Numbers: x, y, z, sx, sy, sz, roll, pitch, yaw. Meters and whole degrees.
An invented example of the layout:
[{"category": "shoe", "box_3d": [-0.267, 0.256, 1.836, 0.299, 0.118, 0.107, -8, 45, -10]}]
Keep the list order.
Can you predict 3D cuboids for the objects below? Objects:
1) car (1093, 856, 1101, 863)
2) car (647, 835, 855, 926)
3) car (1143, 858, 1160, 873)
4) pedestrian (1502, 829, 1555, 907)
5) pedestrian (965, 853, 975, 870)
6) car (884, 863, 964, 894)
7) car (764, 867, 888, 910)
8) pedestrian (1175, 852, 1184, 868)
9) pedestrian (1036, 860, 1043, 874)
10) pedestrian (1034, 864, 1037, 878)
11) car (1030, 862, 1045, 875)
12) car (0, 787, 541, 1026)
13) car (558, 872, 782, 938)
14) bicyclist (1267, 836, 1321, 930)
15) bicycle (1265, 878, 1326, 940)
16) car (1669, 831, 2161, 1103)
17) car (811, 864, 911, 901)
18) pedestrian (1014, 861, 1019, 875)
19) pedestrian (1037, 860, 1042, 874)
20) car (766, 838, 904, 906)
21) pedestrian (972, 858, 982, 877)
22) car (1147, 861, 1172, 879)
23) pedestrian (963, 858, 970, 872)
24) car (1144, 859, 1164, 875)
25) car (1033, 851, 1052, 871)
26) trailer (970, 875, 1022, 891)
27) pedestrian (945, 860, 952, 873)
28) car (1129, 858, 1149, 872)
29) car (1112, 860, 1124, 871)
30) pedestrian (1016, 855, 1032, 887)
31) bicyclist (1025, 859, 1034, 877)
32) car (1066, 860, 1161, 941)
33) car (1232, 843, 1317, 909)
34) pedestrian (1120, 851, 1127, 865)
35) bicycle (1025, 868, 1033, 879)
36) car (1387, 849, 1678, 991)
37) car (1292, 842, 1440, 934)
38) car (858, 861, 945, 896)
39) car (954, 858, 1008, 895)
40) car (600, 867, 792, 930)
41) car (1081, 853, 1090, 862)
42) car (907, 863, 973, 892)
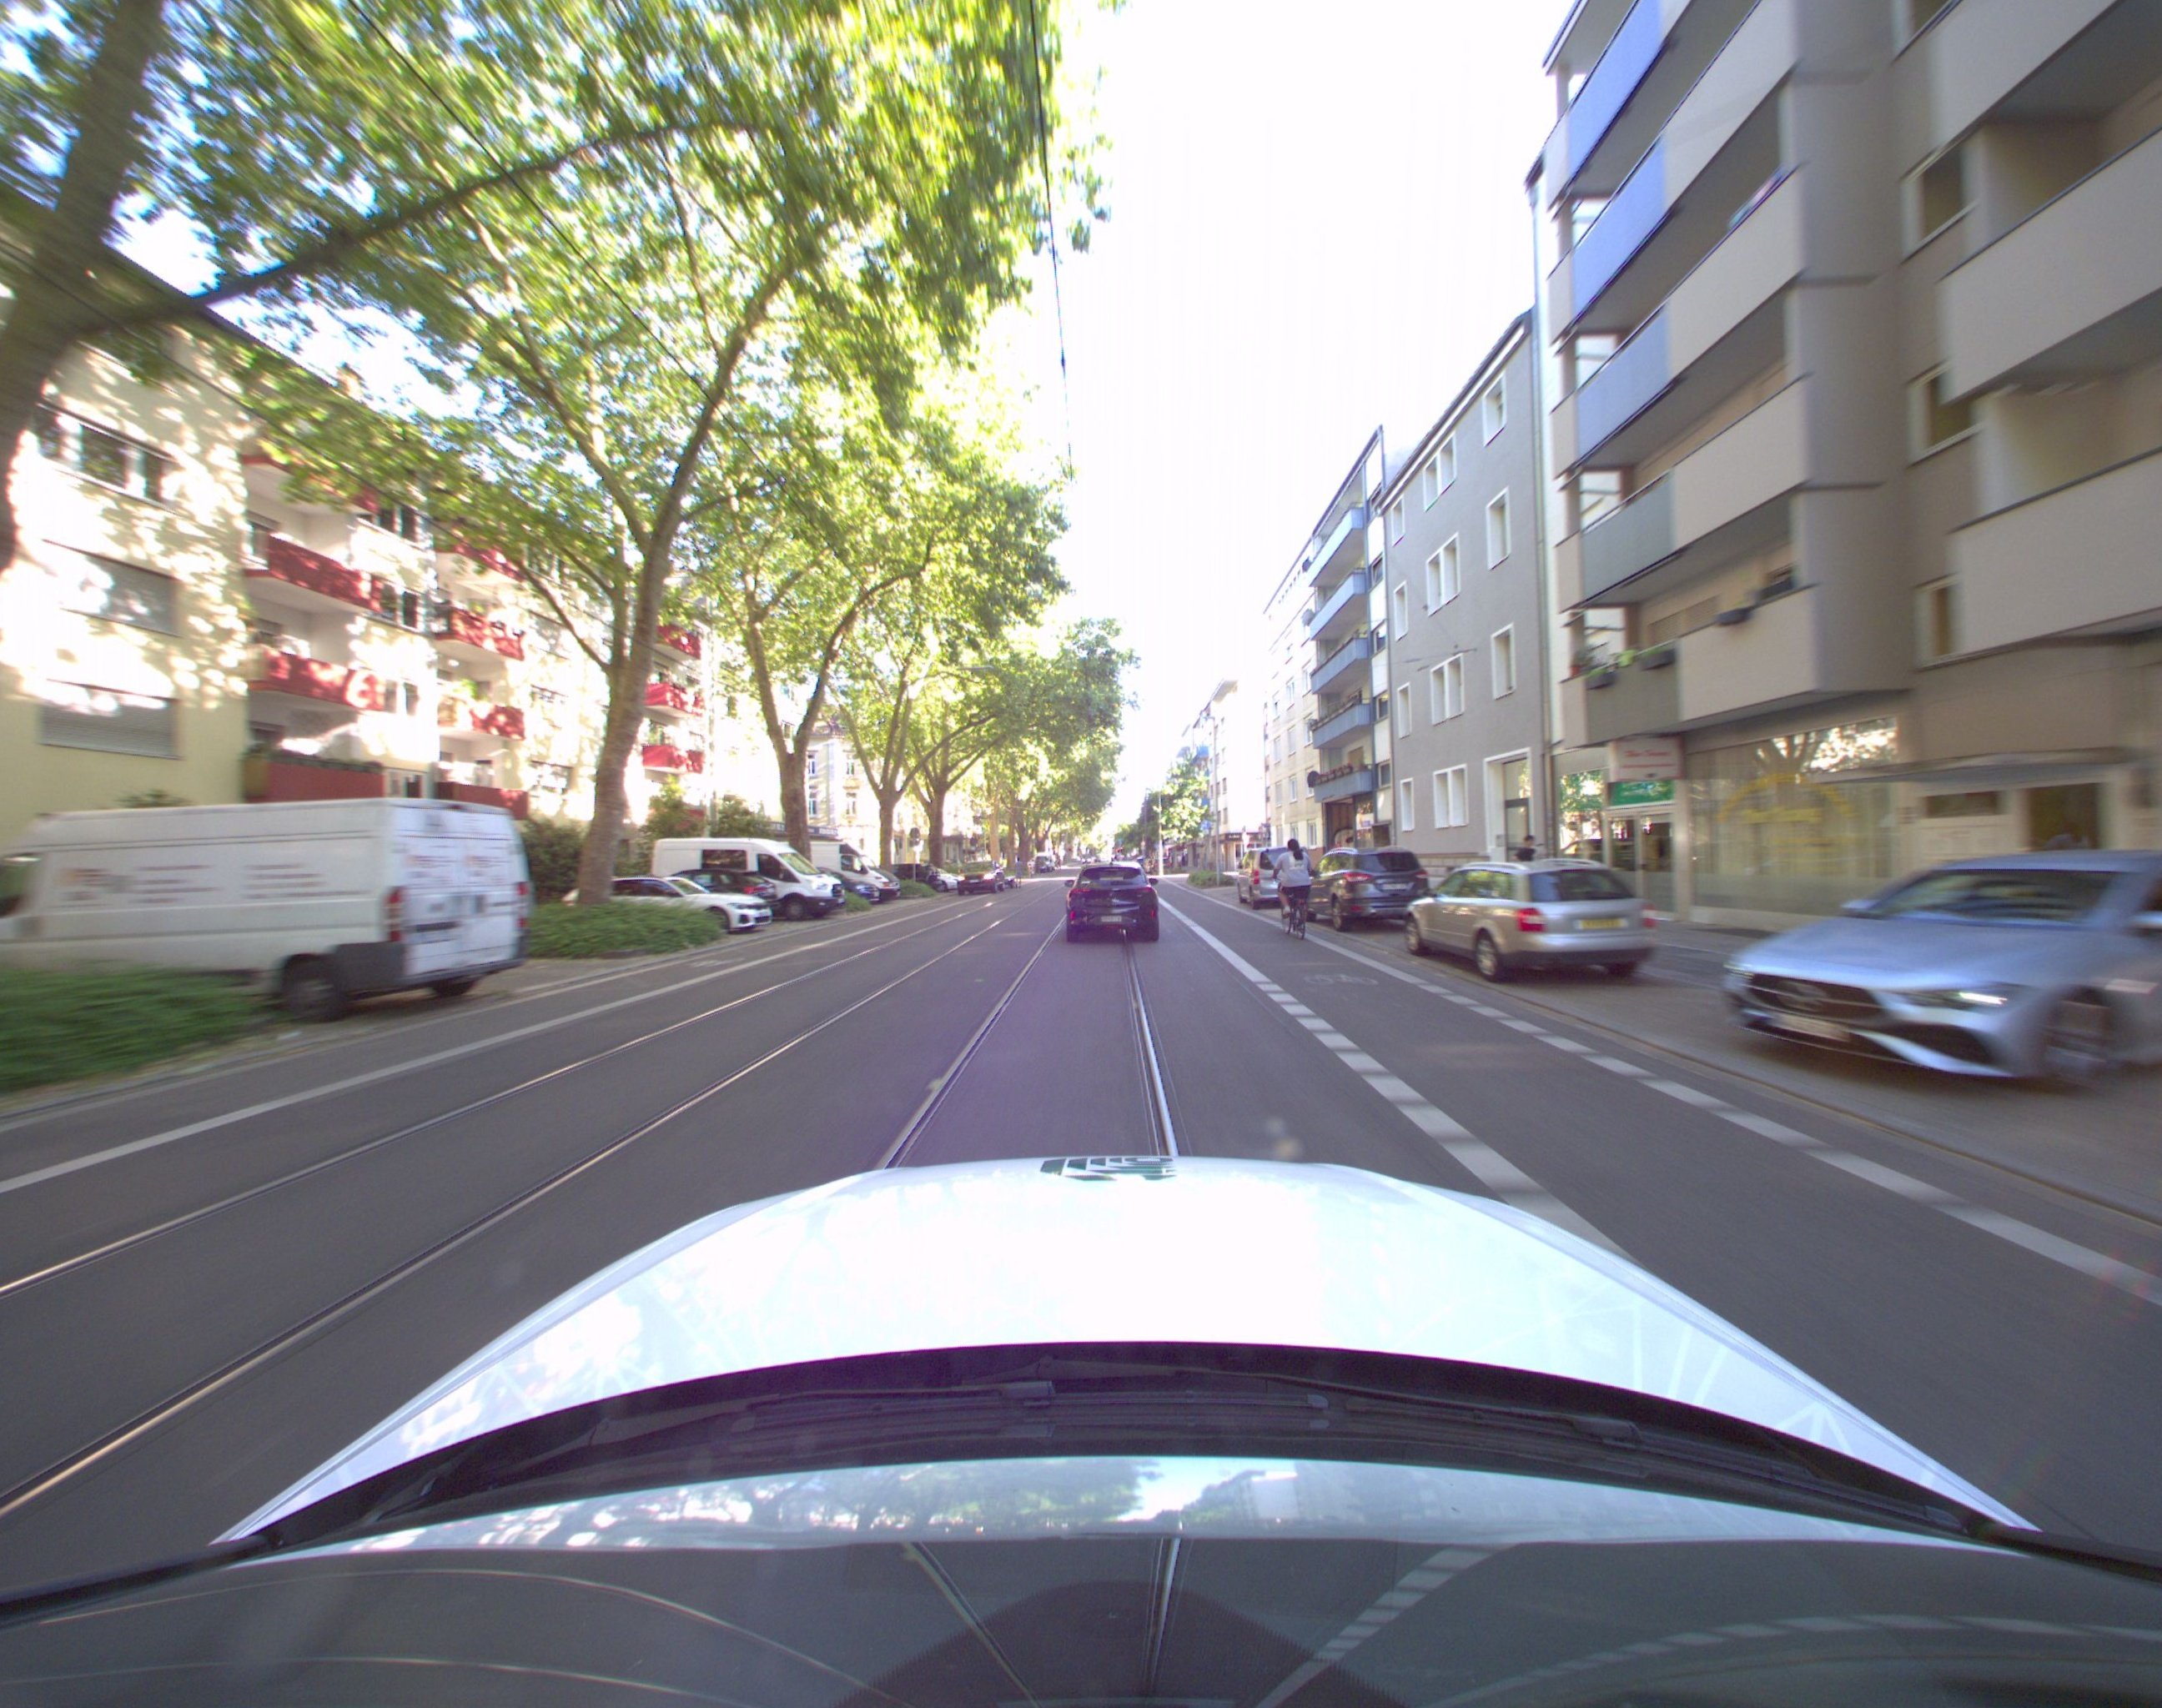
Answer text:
[{"category": "car", "box_3d": [3.989, 1.259, 197.520, 1.742, 1.651, 4.004, -2, 0, 3]}, {"category": "car", "box_3d": [-9.812, 0.782, 24.514, 5.340, 2.477, 2.058, -2, -1, 2]}, {"category": "car", "box_3d": [7.420, 1.195, 85.564, 1.644, 1.574, 3.086, -2, 0, 4]}, {"category": "pedestrian", "box_3d": [10.171, 0.319, 18.524, 0.753, 1.720, 0.720, -2, -1, 0]}, {"category": "pedestrian", "box_3d": [-11.159, 0.744, 81.957, 0.845, 1.632, 0.643, -2, -1, -4]}, {"category": "car", "box_3d": [-8.510, 1.333, 44.447, 3.973, 1.522, 1.771, -1, 0, 0]}, {"category": "car", "box_3d": [-9.527, 1.262, 30.675, 4.003, 1.466, 1.873, -1, 0, 2]}, {"category": "pedestrian", "box_3d": [10.422, 0.634, 86.262, 0.762, 1.748, 0.798, -2, -1, 12]}, {"category": "pedestrian", "box_3d": [-4.755, 1.472, 93.323, 0.681, 1.583, 0.557, -1, -1, 0]}, {"category": "pedestrian", "box_3d": [-5.183, 1.886, 92.726, 0.345, 1.583, 0.508, -1, -1, 0]}, {"category": "car", "box_3d": [-5.440, 1.792, 102.396, 1.749, 1.508, 3.997, -2, 0, -2]}, {"category": "car", "box_3d": [-10.188, 0.585, 9.943, 5.719, 2.536, 2.163, -1, 0, 2]}, {"category": "car", "box_3d": [-9.823, 1.192, 19.707, 4.393, 1.385, 1.934, -1, 0, 1]}, {"category": "bicyclist", "box_3d": [4.099, 0.546, 15.730, 0.784, 1.759, 0.915, -1, -1, 1]}, {"category": "bicycle", "box_3d": [4.113, 1.019, 15.750, 0.698, 1.092, 1.990, 0, -1, 1]}, {"category": "car", "box_3d": [7.266, 0.640, 6.141, 4.613, 1.437, 1.858, -3, 0, -10]}, {"category": "car", "box_3d": [-9.641, 1.234, 35.917, 3.841, 1.478, 1.860, -2, -1, 0]}, {"category": "pedestrian", "box_3d": [-7.339, 1.587, 92.721, 0.508, 1.583, 0.524, -1, -1, -17]}, {"category": "pedestrian", "box_3d": [-4.723, 1.510, 92.638, 0.505, 1.583, 0.527, -2, -1, 1]}, {"category": "car", "box_3d": [-9.964, 0.722, 33.281, 4.930, 2.567, 2.081, -2, -1, -2]}, {"category": "pedestrian", "box_3d": [-10.602, 1.385, 82.989, 0.903, 1.869, 0.643, -2, -1, -4]}, {"category": "car", "box_3d": [7.305, 1.480, 75.960, 1.714, 1.574, 4.081, -2, 0, -2]}, {"category": "pedestrian", "box_3d": [-13.327, 1.305, 94.744, 0.549, 1.652, 0.650, -2, -1, 5]}, {"category": "car", "box_3d": [7.314, 1.299, 81.555, 1.712, 1.490, 3.681, -2, 0, 0]}, {"category": "car", "box_3d": [-5.076, 0.888, 108.525, 2.084, 2.584, 5.999, -2, 0, 2]}, {"category": "trailer", "box_3d": [-4.836, 1.663, 47.455, 2.152, 0.632, 6.402, -1, 0, 2]}, {"category": "pedestrian", "box_3d": [-14.251, 1.333, 87.426, 0.549, 1.403, 0.650, -2, -1, 5]}, {"category": "car", "box_3d": [7.139, 1.331, 100.529, 1.988, 1.640, 3.997, -2, 0, -2]}, {"category": "car", "box_3d": [5.895, 1.824, 128.768, 1.850, 1.651, 4.004, -2, 0, 3]}, {"category": "pedestrian", "box_3d": [-3.229, 0.954, 46.120, 0.712, 1.735, 0.909, -3, 0, -12]}, {"category": "bicyclist", "box_3d": [-4.686, 1.261, 74.030, 0.782, 1.678, 0.957, -2, -1, -1]}, {"category": "car", "box_3d": [0.622, 0.828, 16.075, 1.673, 1.422, 3.628, 0, -1, 1]}, {"category": "car", "box_3d": [6.153, 0.658, 26.493, 1.850, 1.890, 4.929, -2, 0, 4]}, {"category": "pedestrian", "box_3d": [6.424, 0.626, 123.638, 0.853, 2.013, 1.070, -6, -1, 2]}, {"category": "bicycle", "box_3d": [-4.706, 1.746, 74.148, 0.518, 0.962, 1.929, -2, 0, 0]}, {"category": "car", "box_3d": [5.813, 0.739, 11.233, 1.717, 1.525, 4.517, -2, 0, 4]}, {"category": "car", "box_3d": [6.029, 0.664, 17.770, 1.760, 1.705, 4.283, -2, 0, 1]}, {"category": "car", "box_3d": [-9.147, 1.226, 41.772, 3.973, 1.647, 1.894, -1, 0, 0]}, {"category": "car", "box_3d": [-5.083, 1.108, 42.022, 1.986, 1.700, 4.486, -3, 0, 2]}, {"category": "car", "box_3d": [-10.466, 1.182, 22.358, 4.354, 1.539, 1.873, -1, -1, 1]}, {"category": "car", "box_3d": [1.202, 1.017, 207.294, 1.988, 2.211, 5.098, -2, 0, -2]}, {"category": "car", "box_3d": [-8.011, 1.323, 46.394, 3.421, 1.530, 1.786, -2, -1, -2]}]
